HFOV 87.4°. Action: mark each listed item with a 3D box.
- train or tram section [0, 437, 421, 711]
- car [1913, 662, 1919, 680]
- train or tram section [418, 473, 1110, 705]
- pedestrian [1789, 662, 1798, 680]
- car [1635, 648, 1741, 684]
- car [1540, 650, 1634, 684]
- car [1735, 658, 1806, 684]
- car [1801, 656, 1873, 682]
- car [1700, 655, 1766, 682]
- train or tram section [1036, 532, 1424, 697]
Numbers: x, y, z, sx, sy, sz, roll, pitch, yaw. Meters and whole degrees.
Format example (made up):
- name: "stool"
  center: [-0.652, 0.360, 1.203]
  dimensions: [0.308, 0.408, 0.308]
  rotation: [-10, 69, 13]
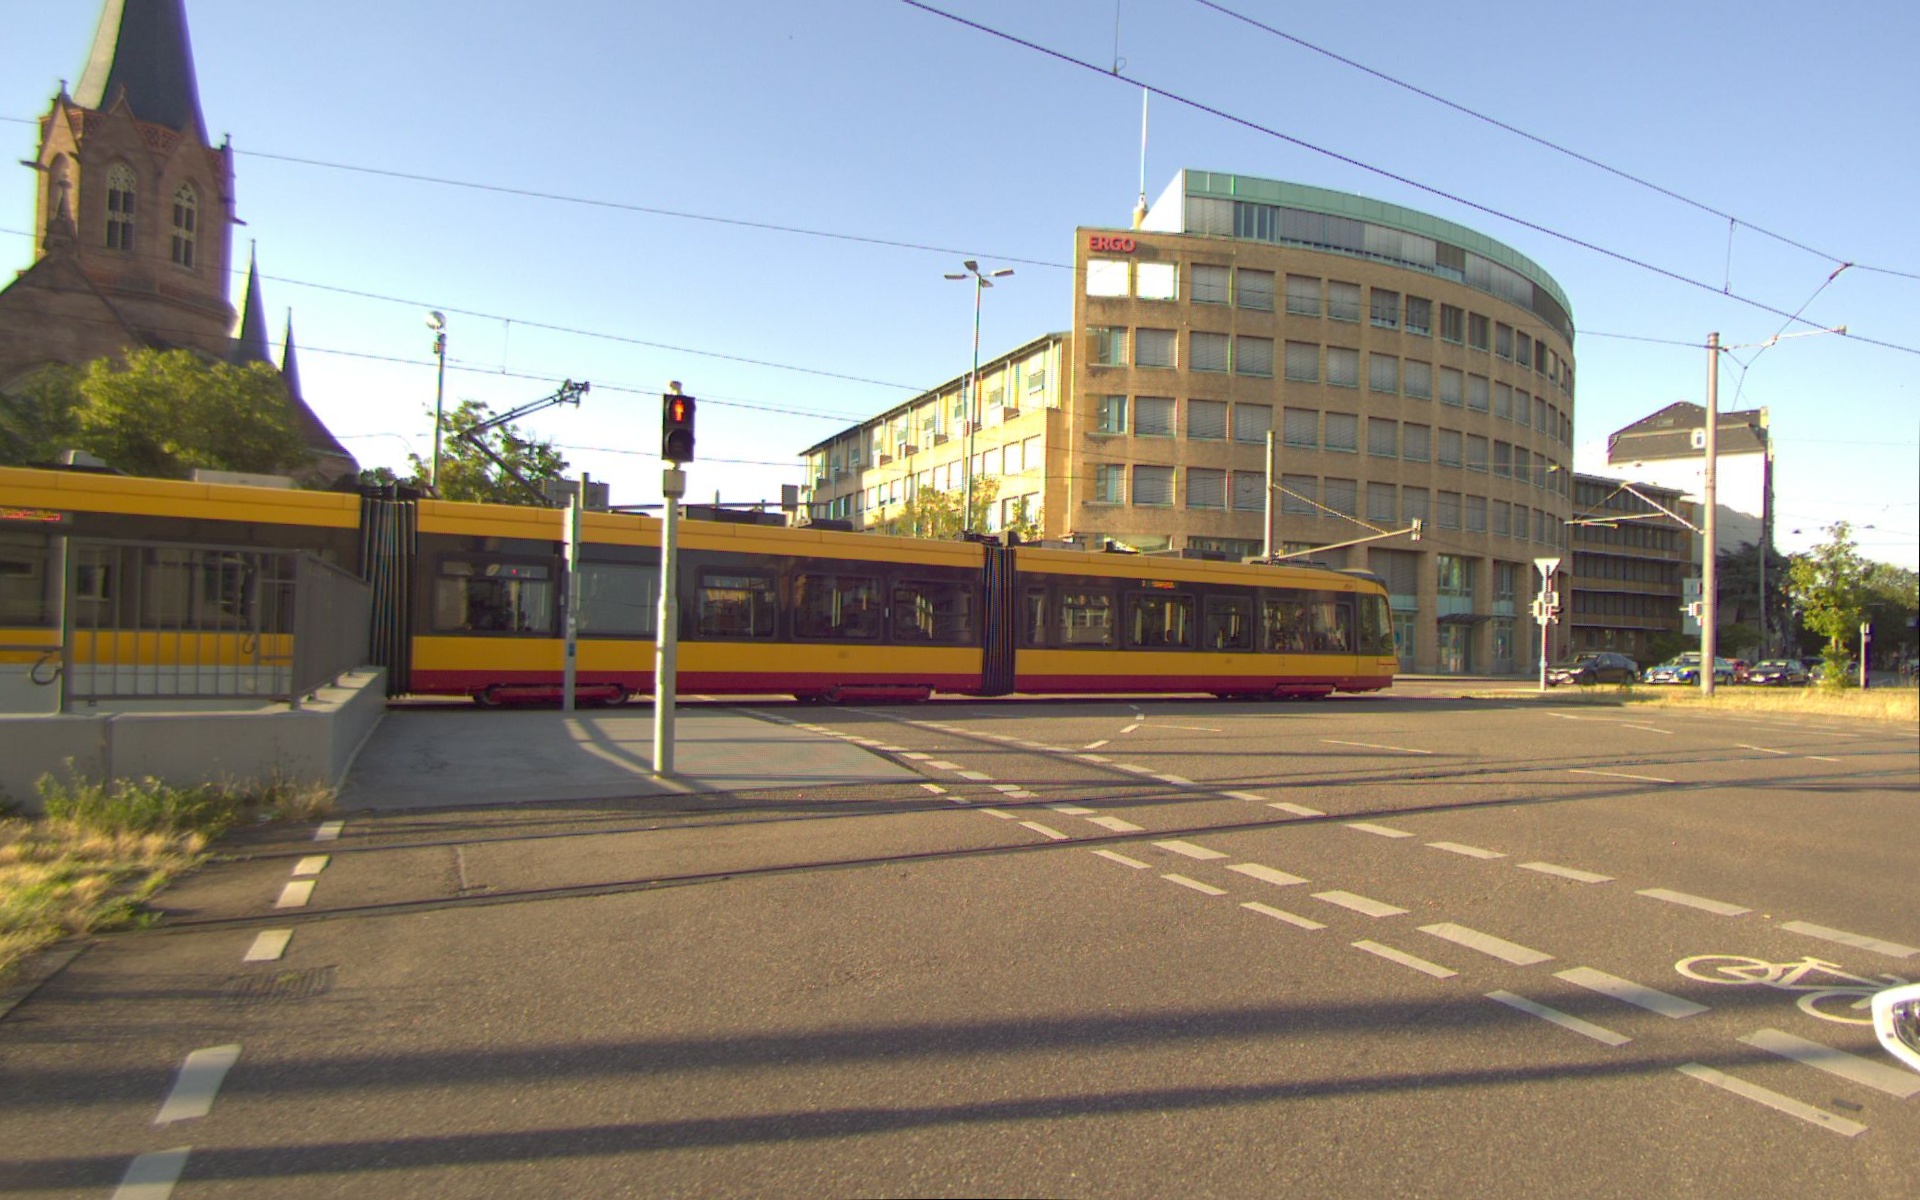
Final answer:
- name: "train or tram section"
  center: [-14.781, -0.395, 13.547]
  dimensions: [13.087, 3.582, 2.762]
  rotation: [2, -1, -28]
- name: "car"
  center: [84.735, 6.214, 87.821]
  dimensions: [4.278, 1.502, 1.754]
  rotation: [3, -2, -43]
- name: "train or tram section"
  center: [-3.183, 0.085, 19.841]
  dimensions: [13.087, 3.582, 2.762]
  rotation: [2, -1, -28]
- name: "pedestrian"
  center: [67.145, 5.704, 80.924]
  dimensions: [0.479, 1.449, 0.412]
  rotation: [2, -1, -27]
- name: "car"
  center: [33.183, 3.007, 45.770]
  dimensions: [4.717, 1.500, 1.883]
  rotation: [2, -2, -25]
- name: "car"
  center: [26.220, 2.804, 41.998]
  dimensions: [3.741, 1.299, 1.718]
  rotation: [2, -2, -28]
- name: "car"
  center: [39.899, 3.497, 49.427]
  dimensions: [3.555, 1.169, 1.513]
  rotation: [2, -1, -29]
- name: "car"
  center: [45.963, 3.611, 52.638]
  dimensions: [3.692, 1.298, 1.640]
  rotation: [2, -2, -27]
- name: "car"
  center: [43.063, 3.800, 55.944]
  dimensions: [3.844, 1.433, 1.715]
  rotation: [2, -2, -32]
- name: "train or tram section"
  center: [7.098, 0.514, 25.454]
  dimensions: [10.440, 3.582, 2.762]
  rotation: [2, -1, -28]
